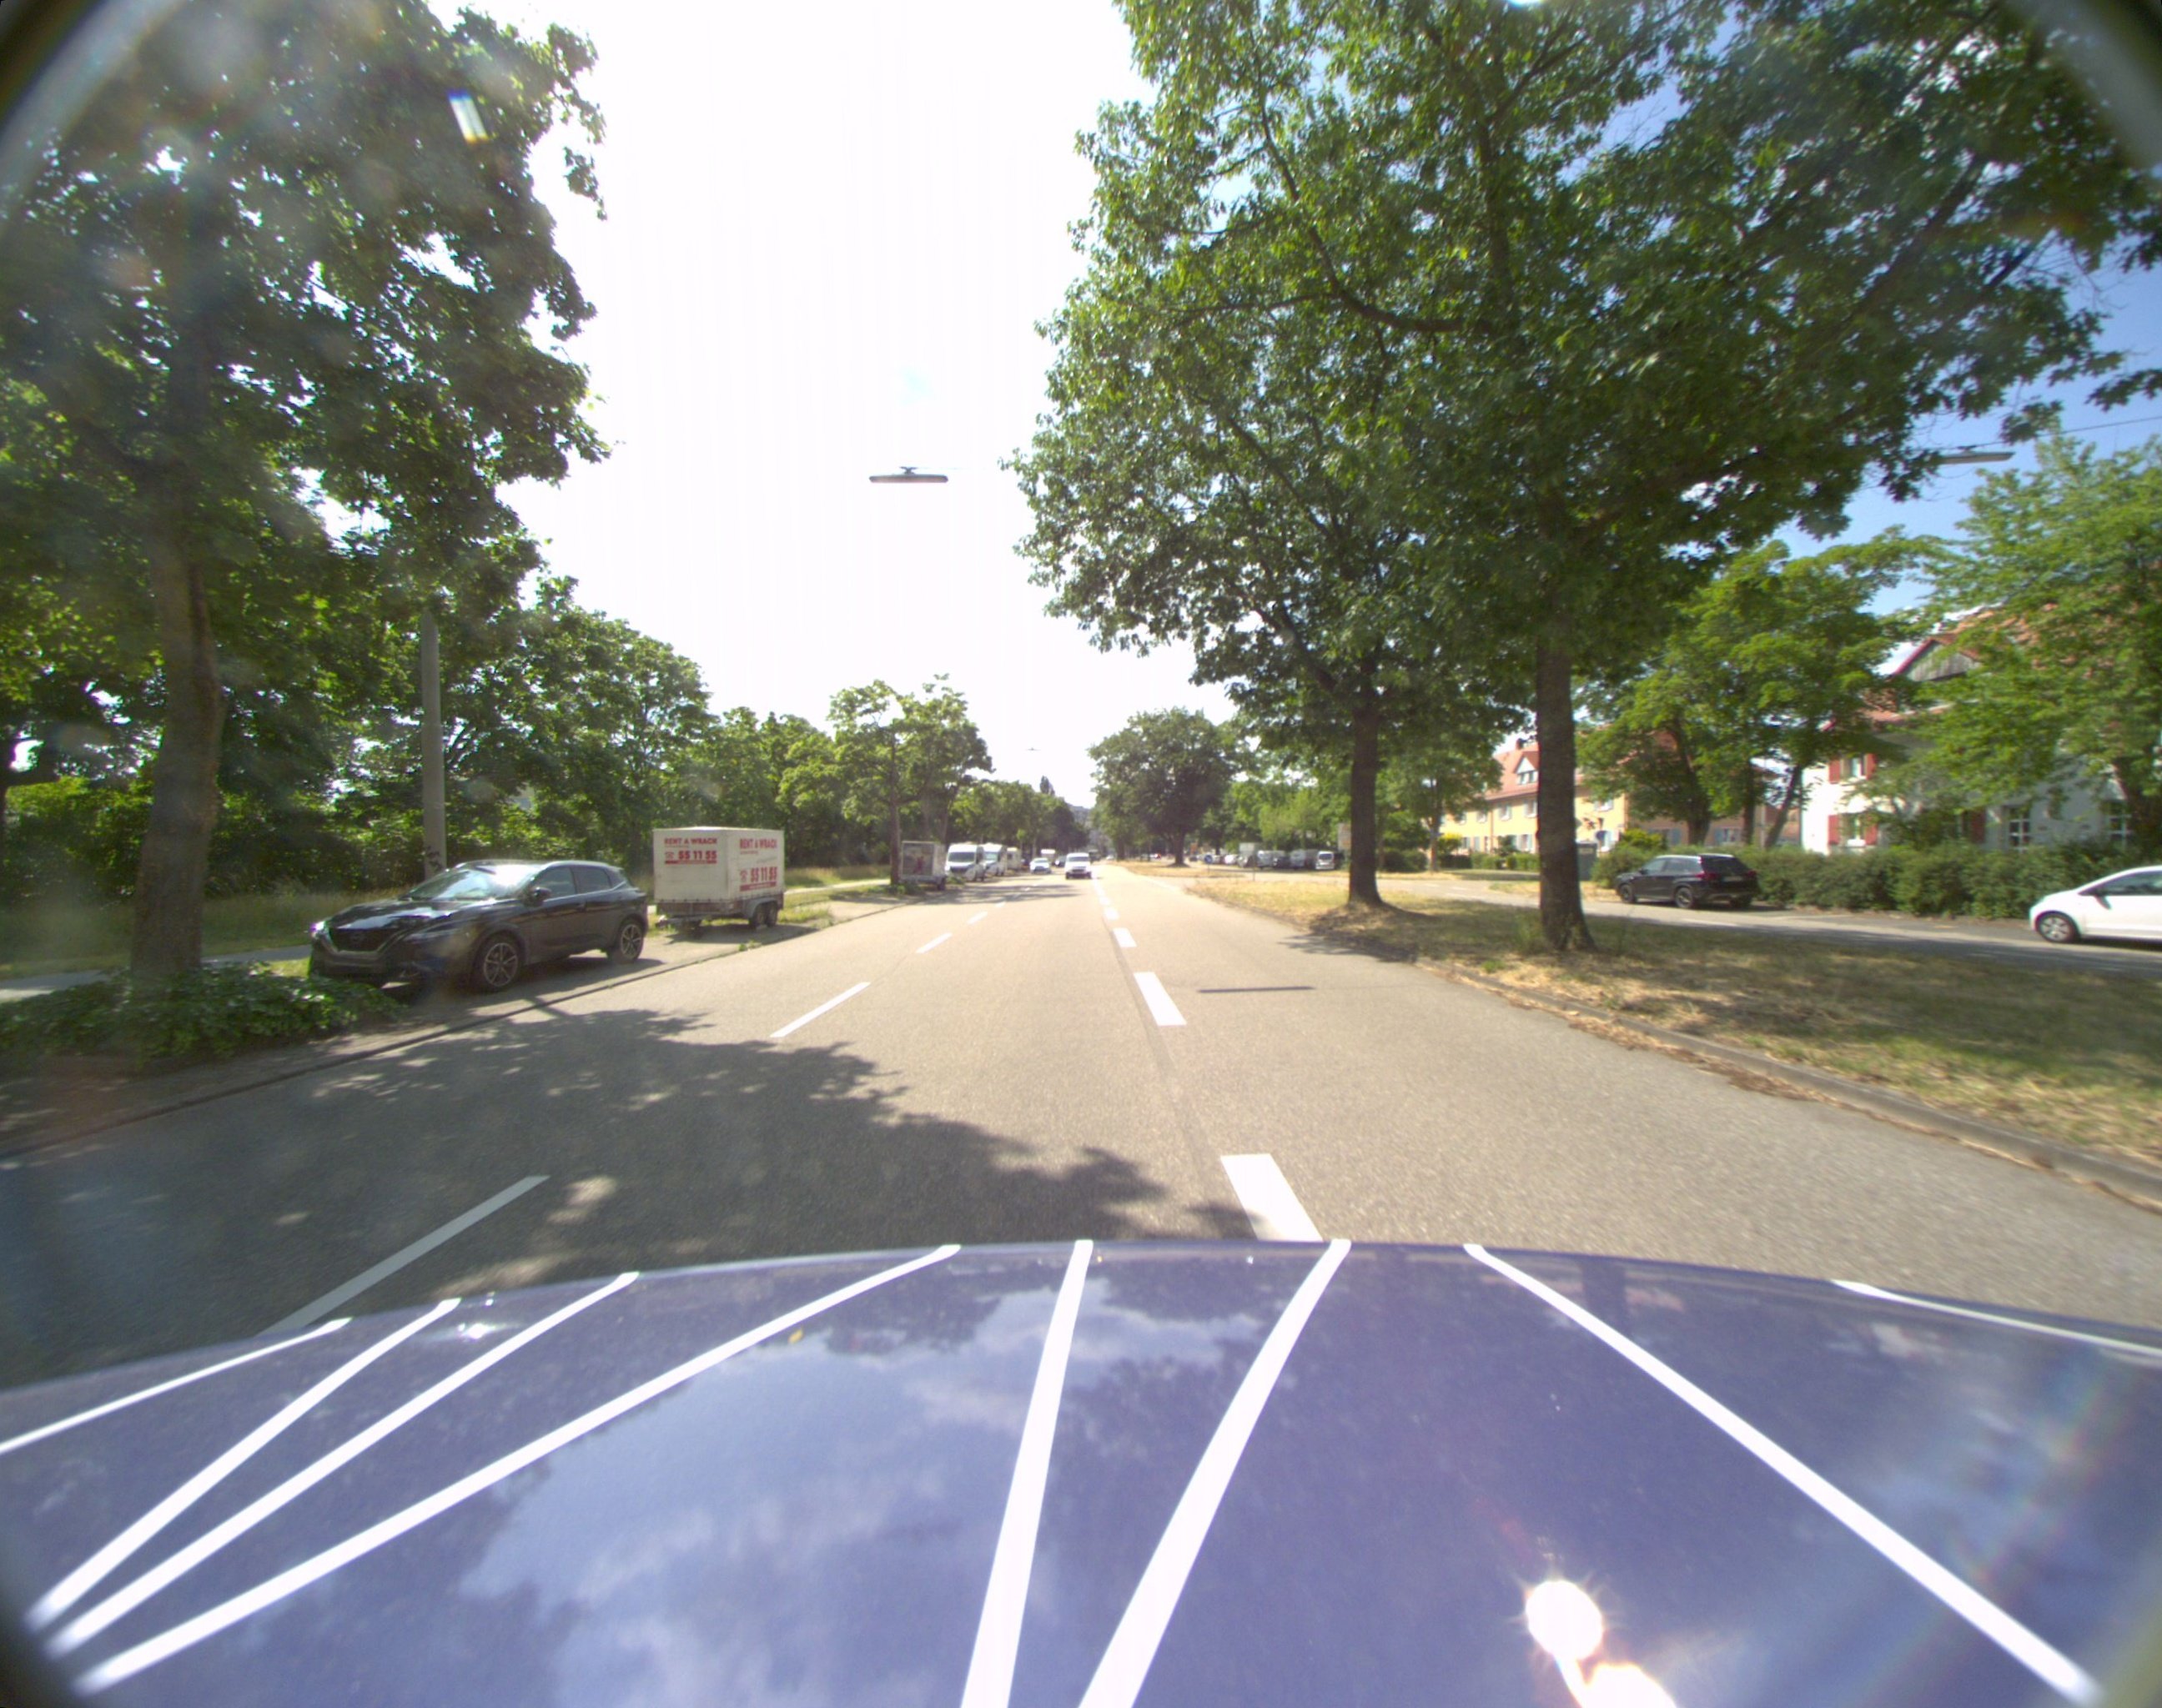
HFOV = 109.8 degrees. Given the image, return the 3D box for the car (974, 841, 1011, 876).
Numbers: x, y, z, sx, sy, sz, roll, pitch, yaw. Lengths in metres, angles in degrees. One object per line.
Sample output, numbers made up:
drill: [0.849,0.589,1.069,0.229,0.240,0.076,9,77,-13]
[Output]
car: [-7.498,0.296,64.931,2.262,2.787,6.767,2,1,0]

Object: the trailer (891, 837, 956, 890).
trailer: [-7.688,0.424,37.558,1.998,2.352,4.781,3,1,1]

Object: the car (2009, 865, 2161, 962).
car: [18.418,0.995,12.644,1.598,1.452,3.534,-3,1,0]

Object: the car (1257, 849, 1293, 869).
car: [21.527,0.599,84.218,4.007,2.002,1.800,-3,1,-42]

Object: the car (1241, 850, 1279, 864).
car: [20.948,0.331,89.194,3.996,1.502,1.800,-3,1,1]

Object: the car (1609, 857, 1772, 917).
car: [18.541,0.926,23.378,1.771,1.543,3.999,-3,1,0]

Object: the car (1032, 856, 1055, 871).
car: [-3.618,0.933,73.806,1.892,1.281,3.999,-3,1,0]

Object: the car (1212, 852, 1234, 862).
car: [22.595,0.469,120.722,1.668,1.341,3.827,-2,1,42]

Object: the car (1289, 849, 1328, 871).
car: [22.620,0.590,75.347,4.007,2.002,1.800,-3,1,-42]

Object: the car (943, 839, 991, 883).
car: [-7.653,0.404,51.729,2.181,2.680,6.150,-3,1,0]

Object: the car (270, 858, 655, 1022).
car: [-7.873,0.941,10.351,1.595,1.681,4.361,0,1,1]

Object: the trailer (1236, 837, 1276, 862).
trailer: [23.341,-0.684,101.172,2.820,3.090,5.764,-3,0,39]

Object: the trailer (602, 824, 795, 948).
trailer: [-8.134,0.599,16.737,1.958,2.338,4.605,1,1,-1]

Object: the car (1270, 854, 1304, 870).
car: [22.107,0.849,81.390,4.007,1.390,1.569,-3,1,-42]

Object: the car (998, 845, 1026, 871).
car: [-7.087,0.324,78.875,2.262,2.526,6.767,1,1,0]

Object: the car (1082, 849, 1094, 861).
car: [1.132,0.137,125.317,1.768,1.893,4.541,-3,1,3]

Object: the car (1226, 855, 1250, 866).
car: [23.087,0.906,111.947,1.668,1.455,3.827,-2,1,42]

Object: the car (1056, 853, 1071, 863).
car: [-2.390,0.513,103.486,1.892,1.281,3.999,-3,1,0]

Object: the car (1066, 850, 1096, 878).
car: [0.041,0.685,53.808,1.935,1.774,4.716,-3,0,2]

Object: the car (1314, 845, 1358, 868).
car: [22.108,0.179,65.890,4.008,1.849,1.800,-2,0,-42]
